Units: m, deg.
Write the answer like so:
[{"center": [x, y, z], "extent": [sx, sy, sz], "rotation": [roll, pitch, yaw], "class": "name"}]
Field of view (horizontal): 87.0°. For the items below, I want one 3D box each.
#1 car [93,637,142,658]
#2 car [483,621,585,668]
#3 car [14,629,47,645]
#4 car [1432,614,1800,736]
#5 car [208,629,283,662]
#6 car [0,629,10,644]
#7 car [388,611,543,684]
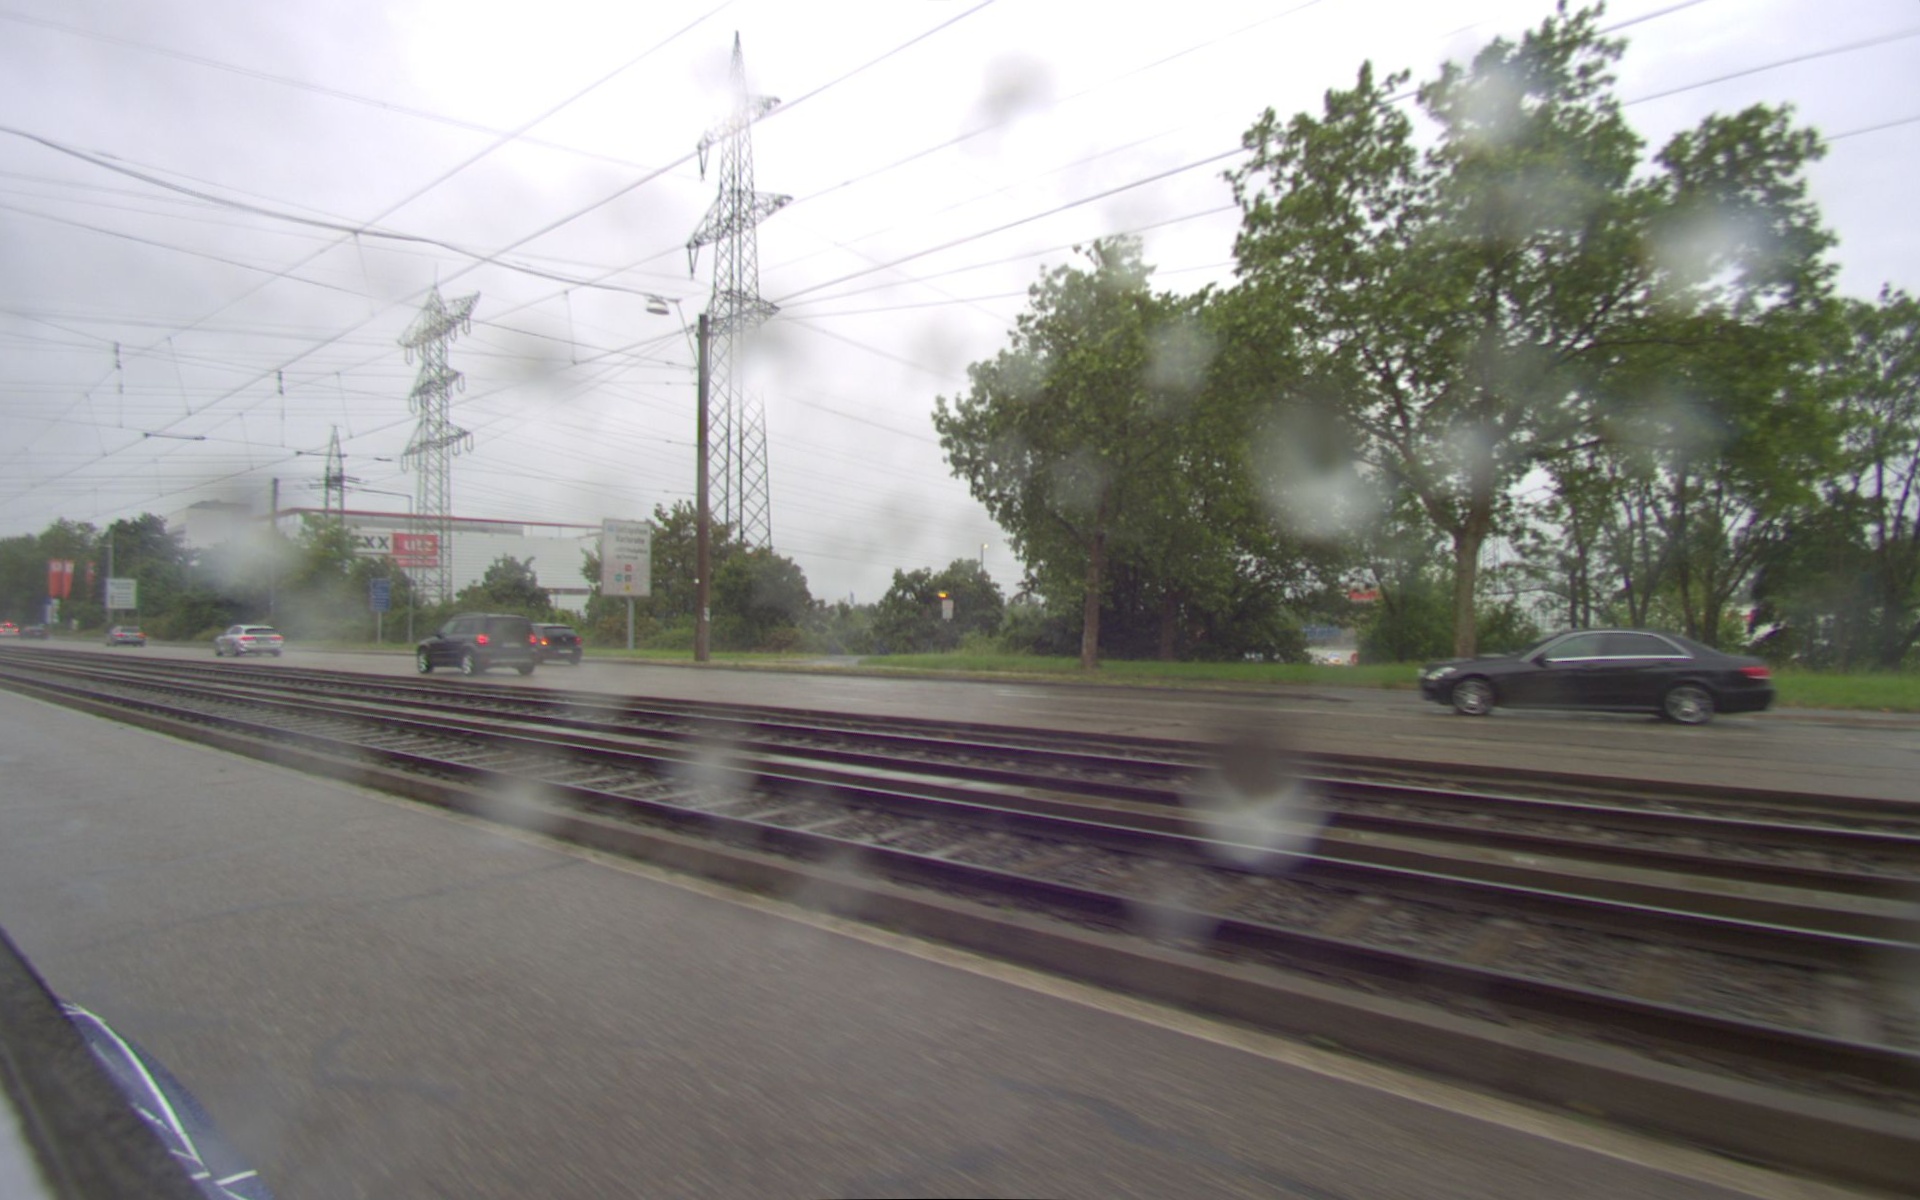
[{"center": [-58.525, 3.295, 70.310], "extent": [5.067, 1.373, 1.740], "rotation": [-3, -1, 40], "class": "car"}, {"center": [-15.241, 1.580, 36.137], "extent": [3.996, 1.564, 1.672], "rotation": [-3, -1, 39], "class": "car"}, {"center": [-92.703, 3.686, 100.881], "extent": [5.250, 1.475, 1.972], "rotation": [-3, -4, 43], "class": "car"}, {"center": [10.161, 1.159, 16.176], "extent": [4.621, 1.699, 1.832], "rotation": [-2, -1, 24], "class": "car"}, {"center": [-32.404, 2.065, 45.853], "extent": [4.542, 1.364, 1.724], "rotation": [-3, -1, 40], "class": "car"}, {"center": [-105.764, 4.083, 110.885], "extent": [5.061, 1.586, 1.824], "rotation": [-3, -1, 40], "class": "car"}, {"center": [-13.745, 1.300, 27.991], "extent": [4.998, 1.823, 1.869], "rotation": [-2, -1, 38], "class": "car"}]
